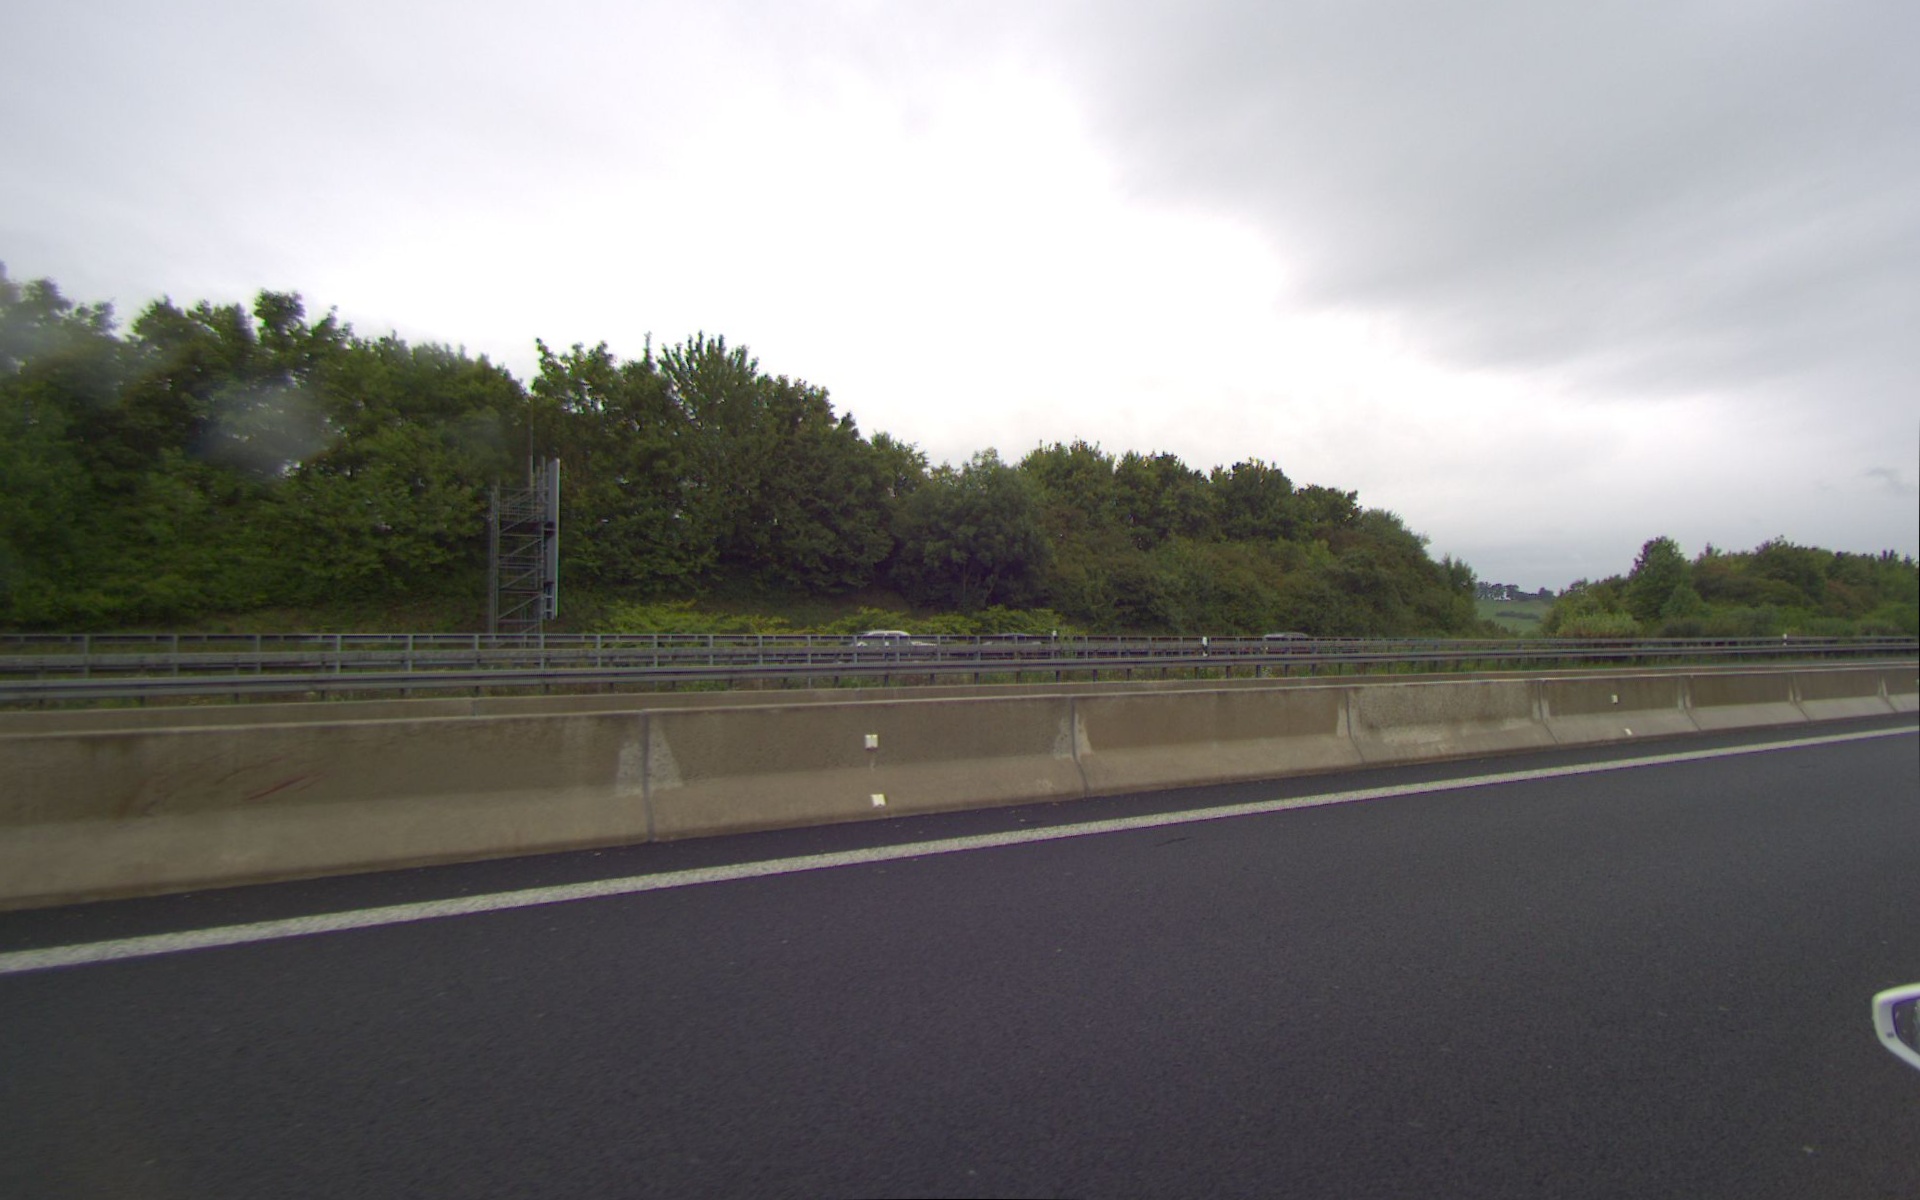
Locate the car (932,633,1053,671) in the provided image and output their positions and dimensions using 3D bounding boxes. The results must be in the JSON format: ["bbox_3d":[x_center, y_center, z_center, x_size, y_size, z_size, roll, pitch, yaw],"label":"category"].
[{"bbox_3d":[1.364,2.129,41.434,4.720,1.475,1.810,2,-1,-30],"label":"car"}]

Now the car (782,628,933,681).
[{"bbox_3d":[-3.087,1.643,30.640,4.222,1.475,1.809,2,-1,-32],"label":"car"}]
